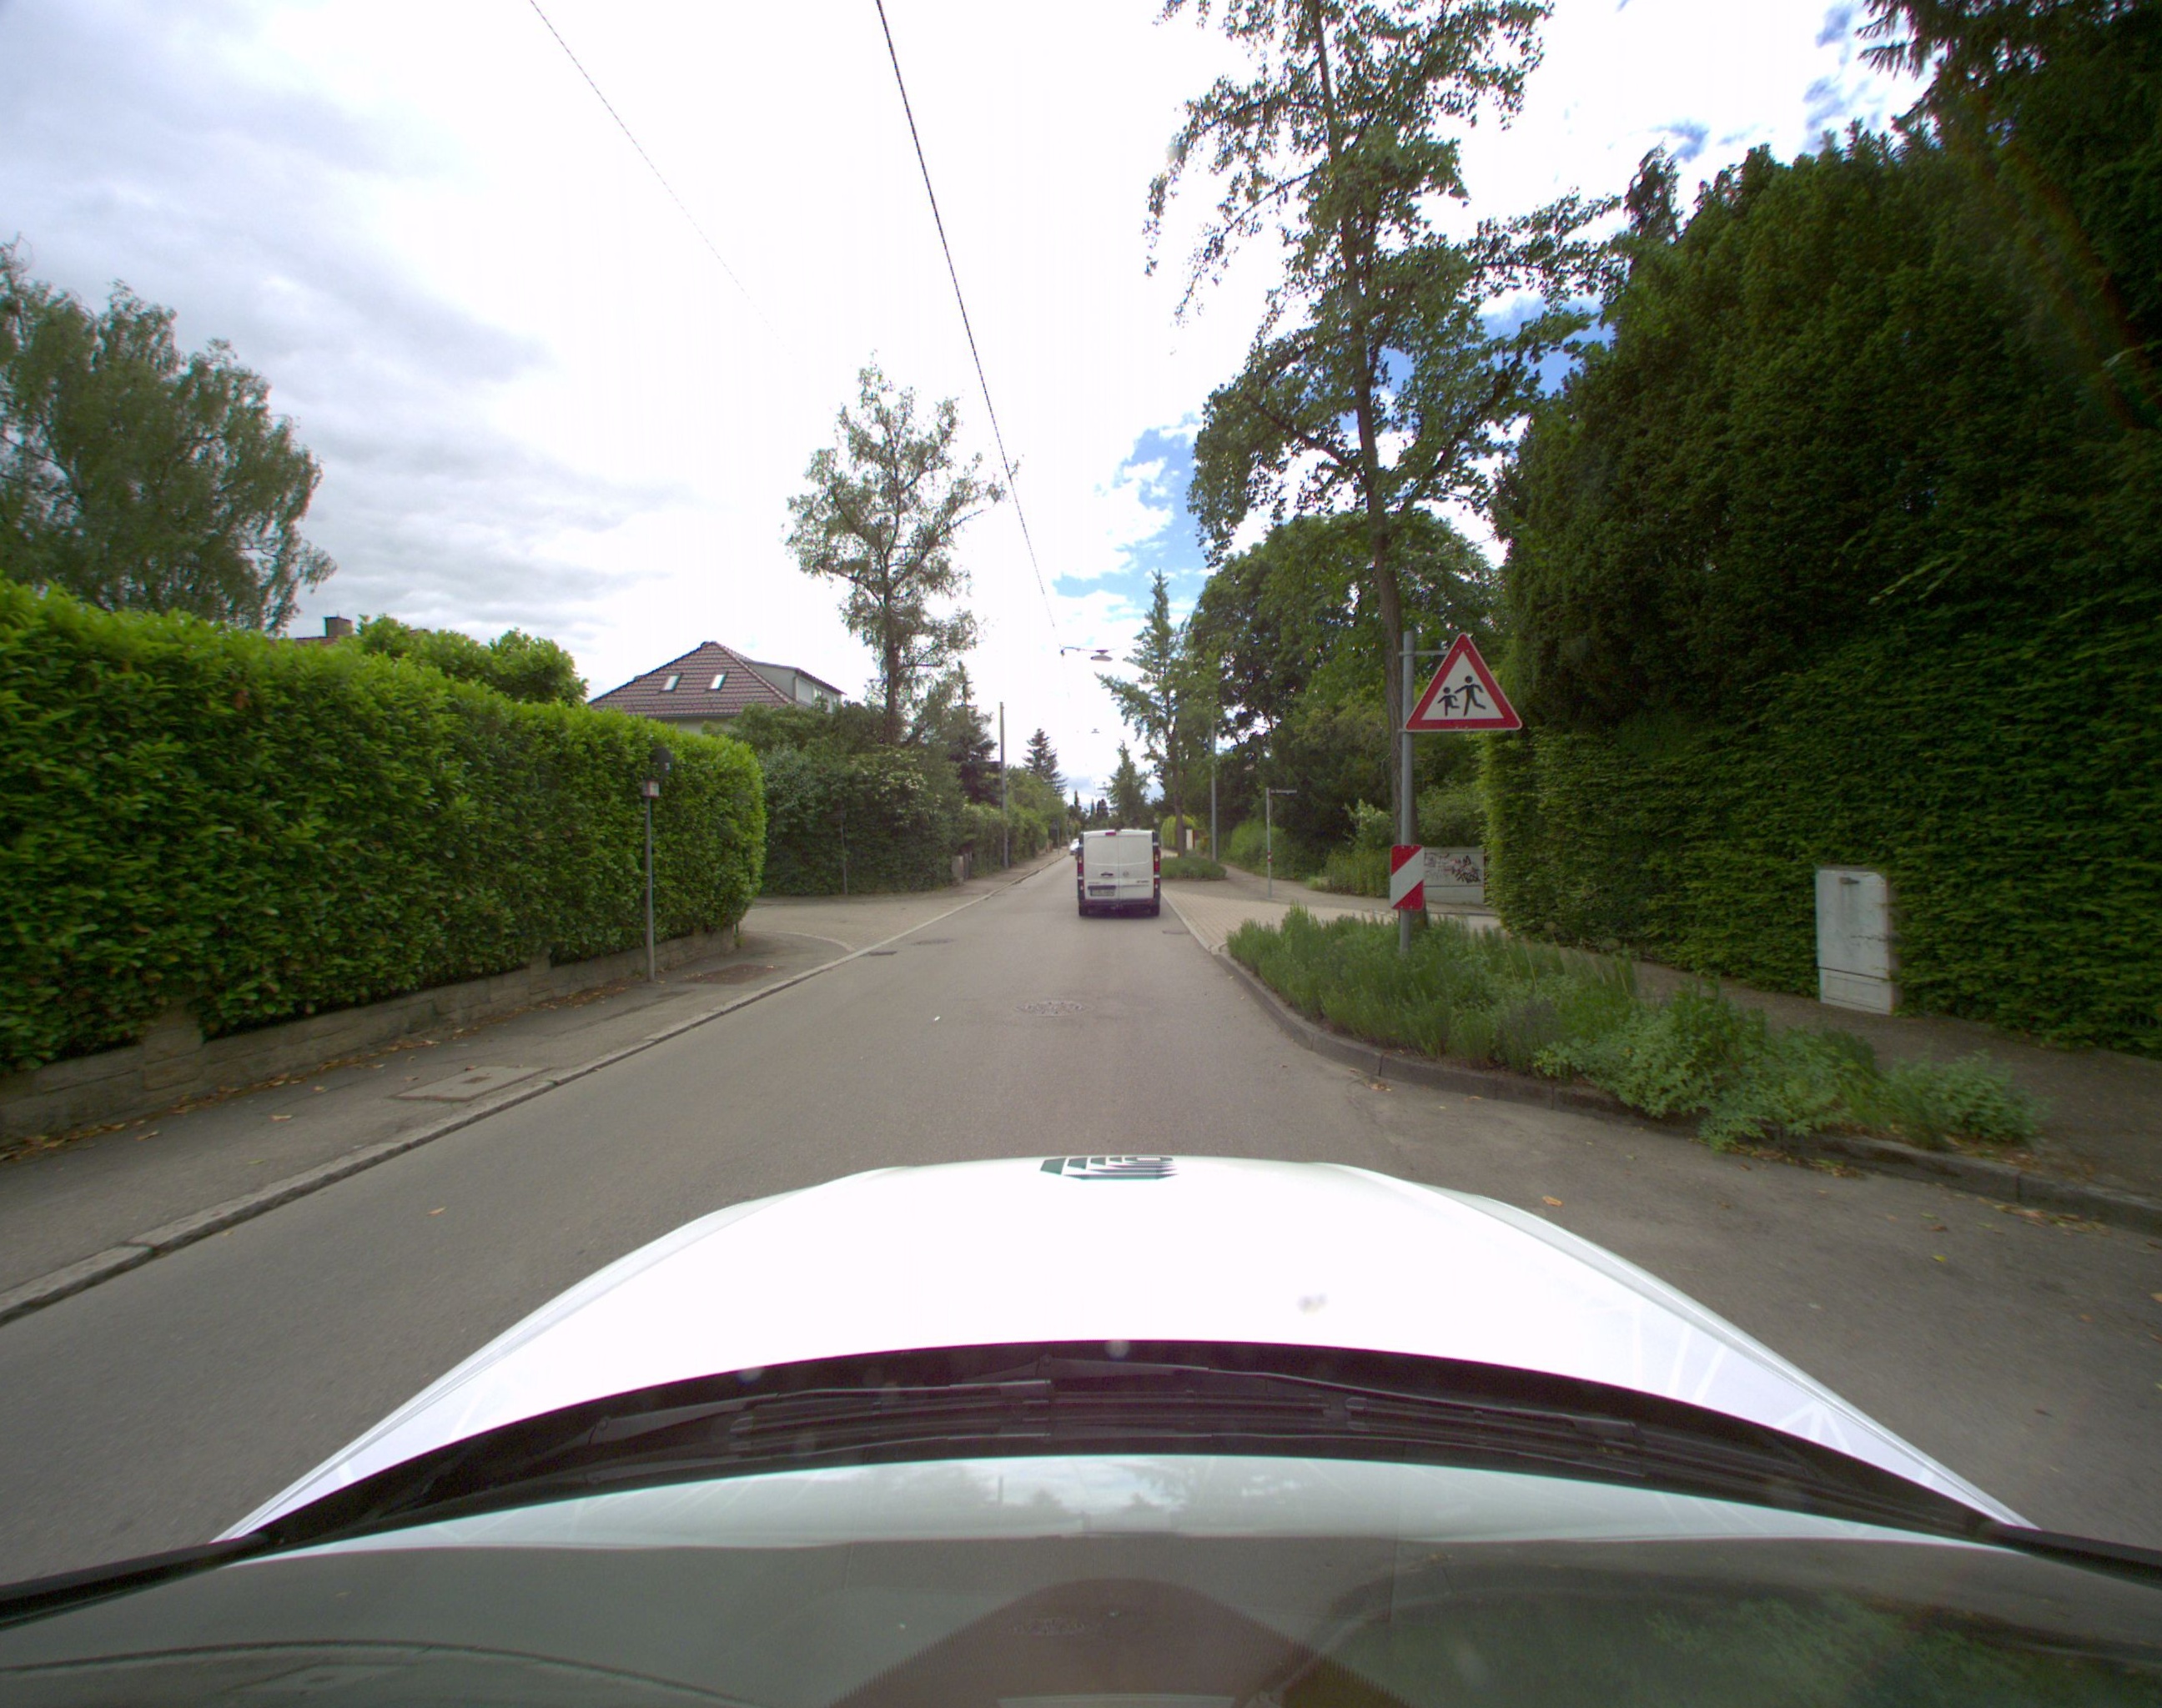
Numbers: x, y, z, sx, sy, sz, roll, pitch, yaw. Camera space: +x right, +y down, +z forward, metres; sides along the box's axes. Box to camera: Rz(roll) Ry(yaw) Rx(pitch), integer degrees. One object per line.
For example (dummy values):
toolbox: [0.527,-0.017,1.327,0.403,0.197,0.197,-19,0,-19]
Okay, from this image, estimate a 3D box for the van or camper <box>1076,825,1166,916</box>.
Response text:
van or camper: [0.920,0.344,19.878,1.932,1.954,4.766,0,0,1]

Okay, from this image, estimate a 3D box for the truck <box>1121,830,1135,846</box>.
truck: [7.505,-2.585,130.829,2.179,2.471,7.434,0,1,2]

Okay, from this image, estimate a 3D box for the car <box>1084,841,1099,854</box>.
car: [1.351,-0.867,105.511,1.799,1.431,4.119,-4,1,1]

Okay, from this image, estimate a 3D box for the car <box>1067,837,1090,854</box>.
car: [-0.186,-0.807,75.205,1.798,1.431,4.304,-4,1,3]

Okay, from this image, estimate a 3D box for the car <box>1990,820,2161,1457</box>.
car: [3.244,0.664,0.354,1.617,1.473,3.742,0,0,2]
